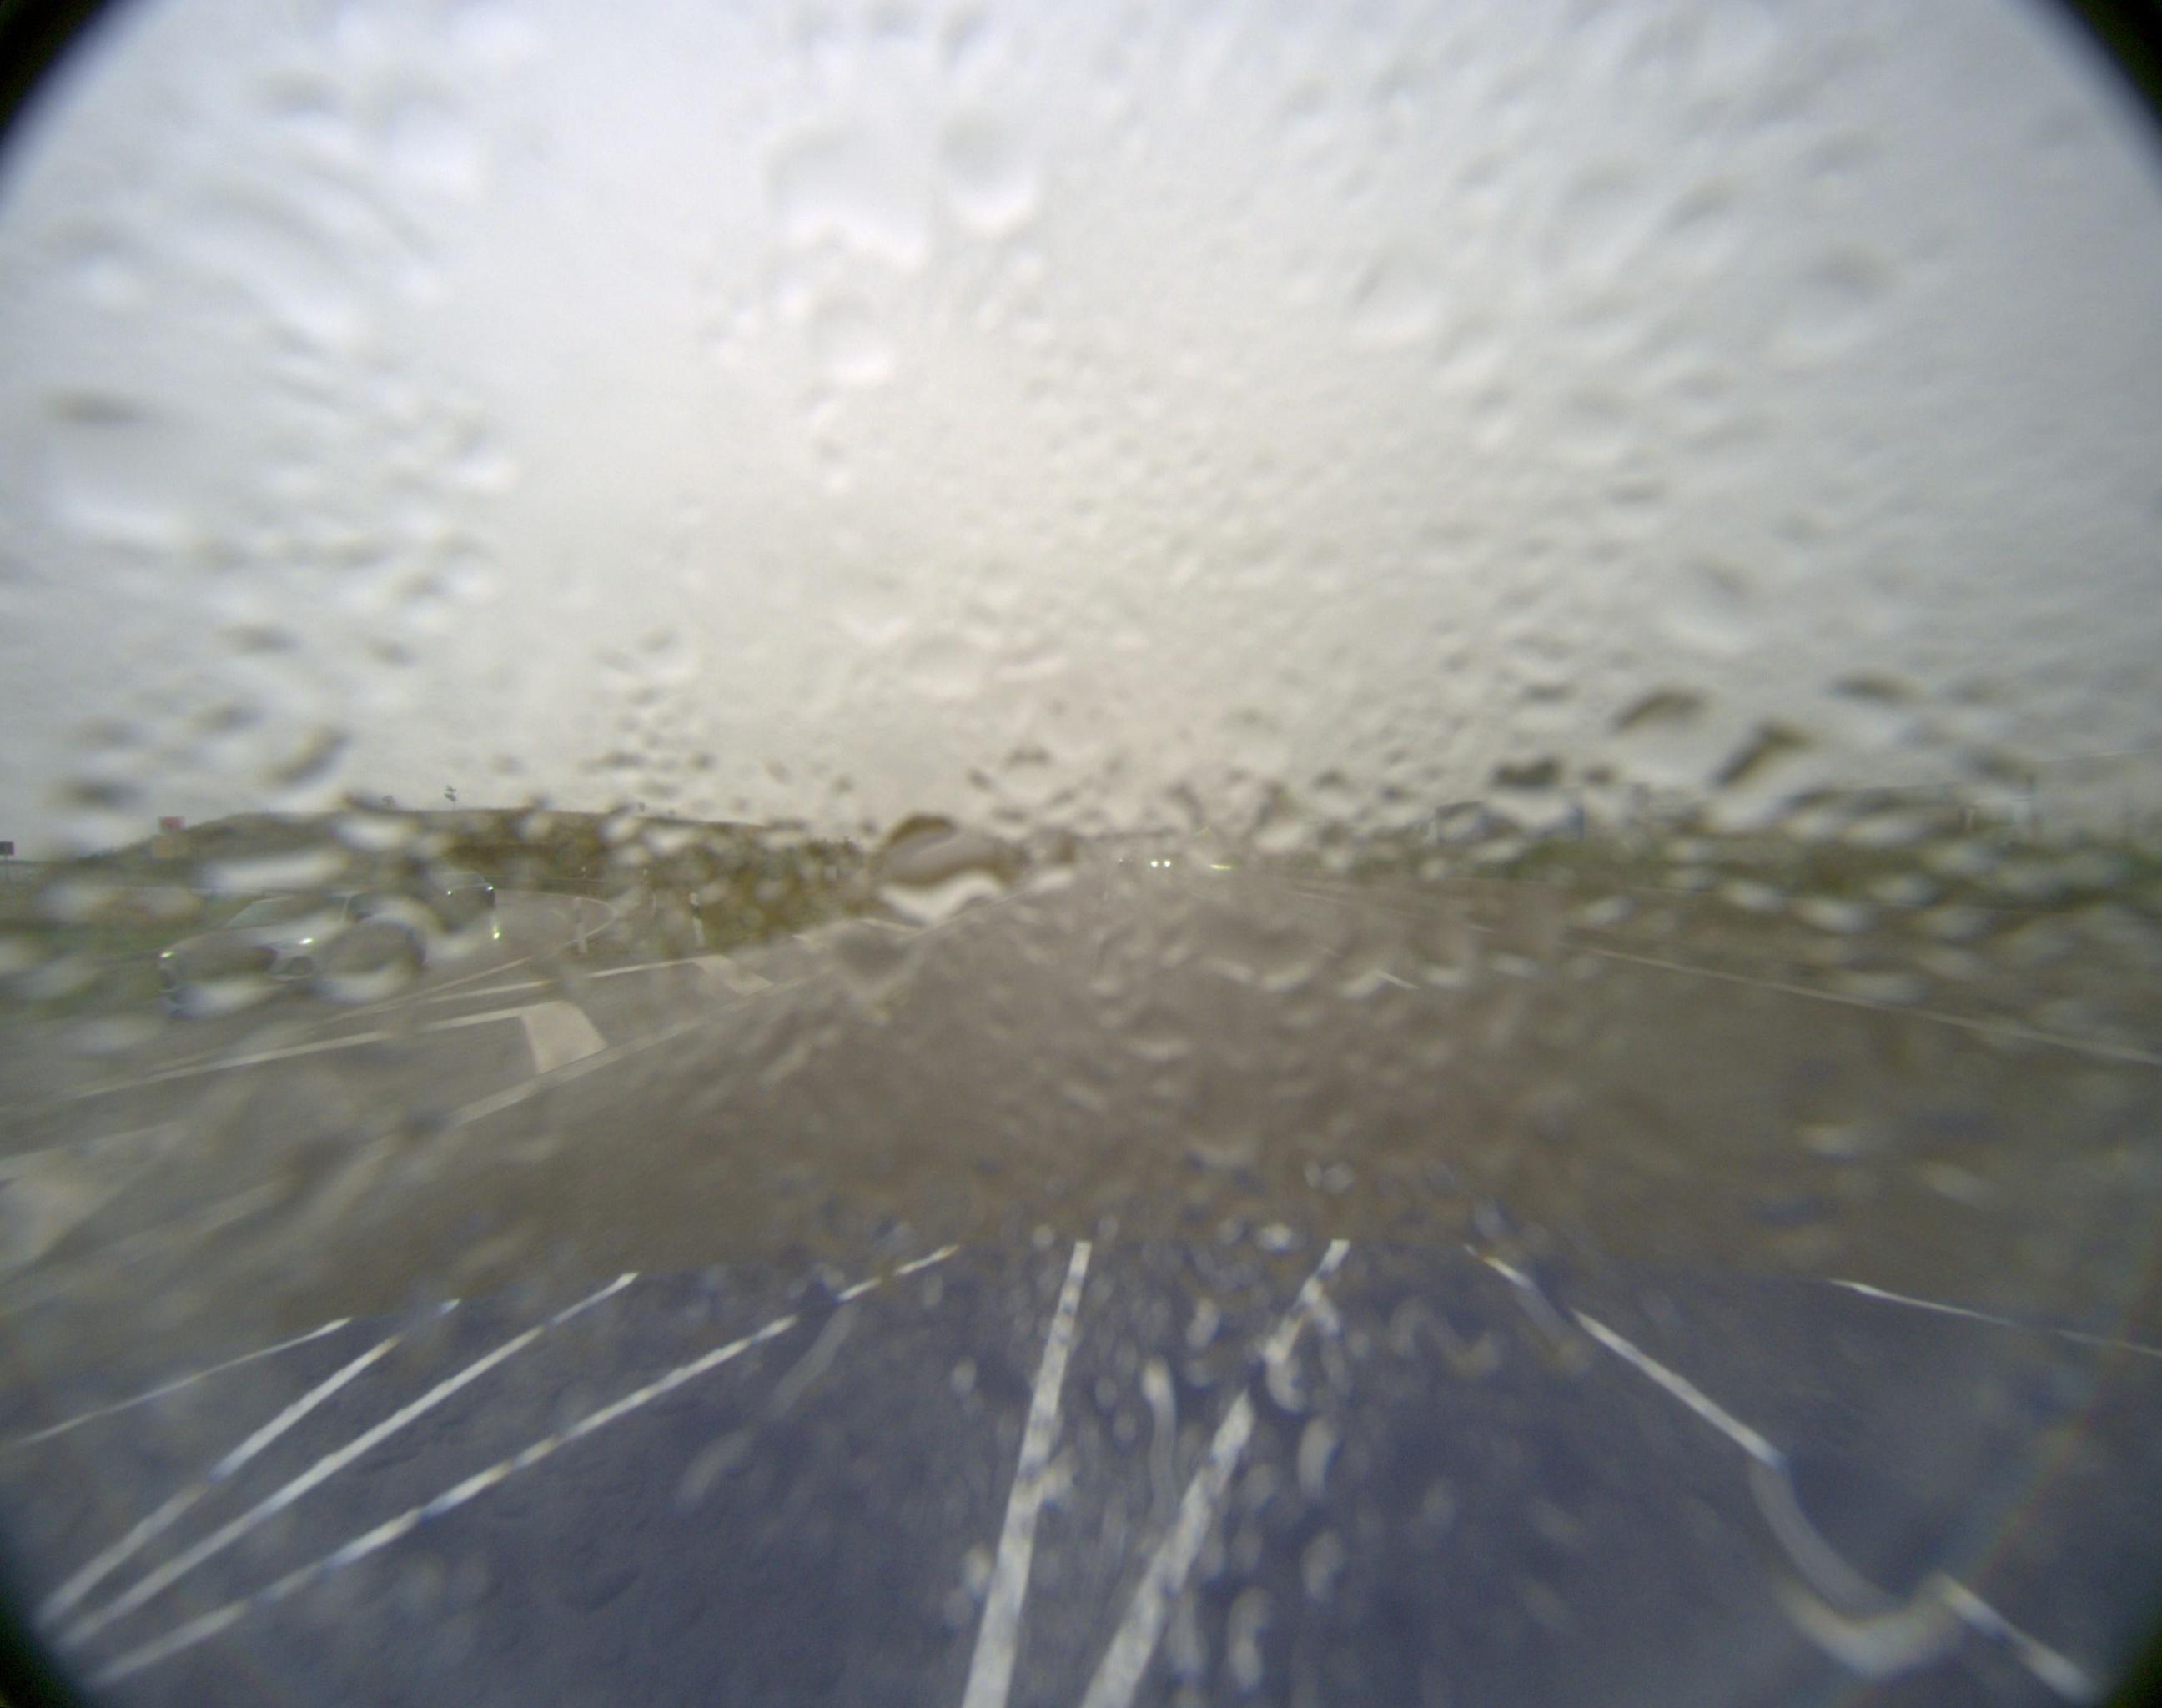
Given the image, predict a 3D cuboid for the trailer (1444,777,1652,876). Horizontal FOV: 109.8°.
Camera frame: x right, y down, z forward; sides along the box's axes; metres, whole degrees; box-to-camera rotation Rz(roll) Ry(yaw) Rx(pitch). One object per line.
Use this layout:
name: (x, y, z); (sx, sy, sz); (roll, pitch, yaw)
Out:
trailer: (22.002, -1.167, 37.306); (2.441, 3.916, 13.493); (-1, 0, 3)

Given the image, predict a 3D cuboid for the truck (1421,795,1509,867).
truck: (22.281, -1.283, 44.403); (2.491, 3.904, 5.610); (-1, 1, 3)

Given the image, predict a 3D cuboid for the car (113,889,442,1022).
car: (-13.003, 1.506, 12.798); (1.916, 1.477, 4.470); (-5, 1, -20)

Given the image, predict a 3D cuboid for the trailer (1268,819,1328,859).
trailer: (20.062, -1.285, 70.887); (3.265, 3.436, 9.444); (-1, 0, 3)

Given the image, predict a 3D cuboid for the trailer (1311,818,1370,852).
trailer: (28.762, -2.001, 84.917); (3.121, 3.398, 14.241); (-1, 0, 6)

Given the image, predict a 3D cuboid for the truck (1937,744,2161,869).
truck: (26.520, -1.147, 18.054); (2.827, 2.892, 8.278); (-2, 1, -2)

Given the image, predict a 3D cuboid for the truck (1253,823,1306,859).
truck: (20.426, -1.293, 78.790); (3.273, 3.421, 10.131); (-1, 0, 3)

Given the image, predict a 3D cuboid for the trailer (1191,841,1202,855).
trailer: (34.684, -1.856, 228.480); (2.229, 3.974, 14.210); (-2, 0, 4)

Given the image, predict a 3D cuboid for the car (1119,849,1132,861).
car: (6.464, 0.158, 109.657); (1.701, 1.543, 3.733); (-2, 1, 1)

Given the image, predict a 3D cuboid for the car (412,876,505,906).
car: (-29.365, 1.721, 35.823); (3.990, 1.281, 1.823); (-1, 1, 26)

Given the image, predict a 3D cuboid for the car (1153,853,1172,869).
car: (8.621, 0.692, 80.754); (1.700, 1.543, 3.733); (-2, 1, 2)
